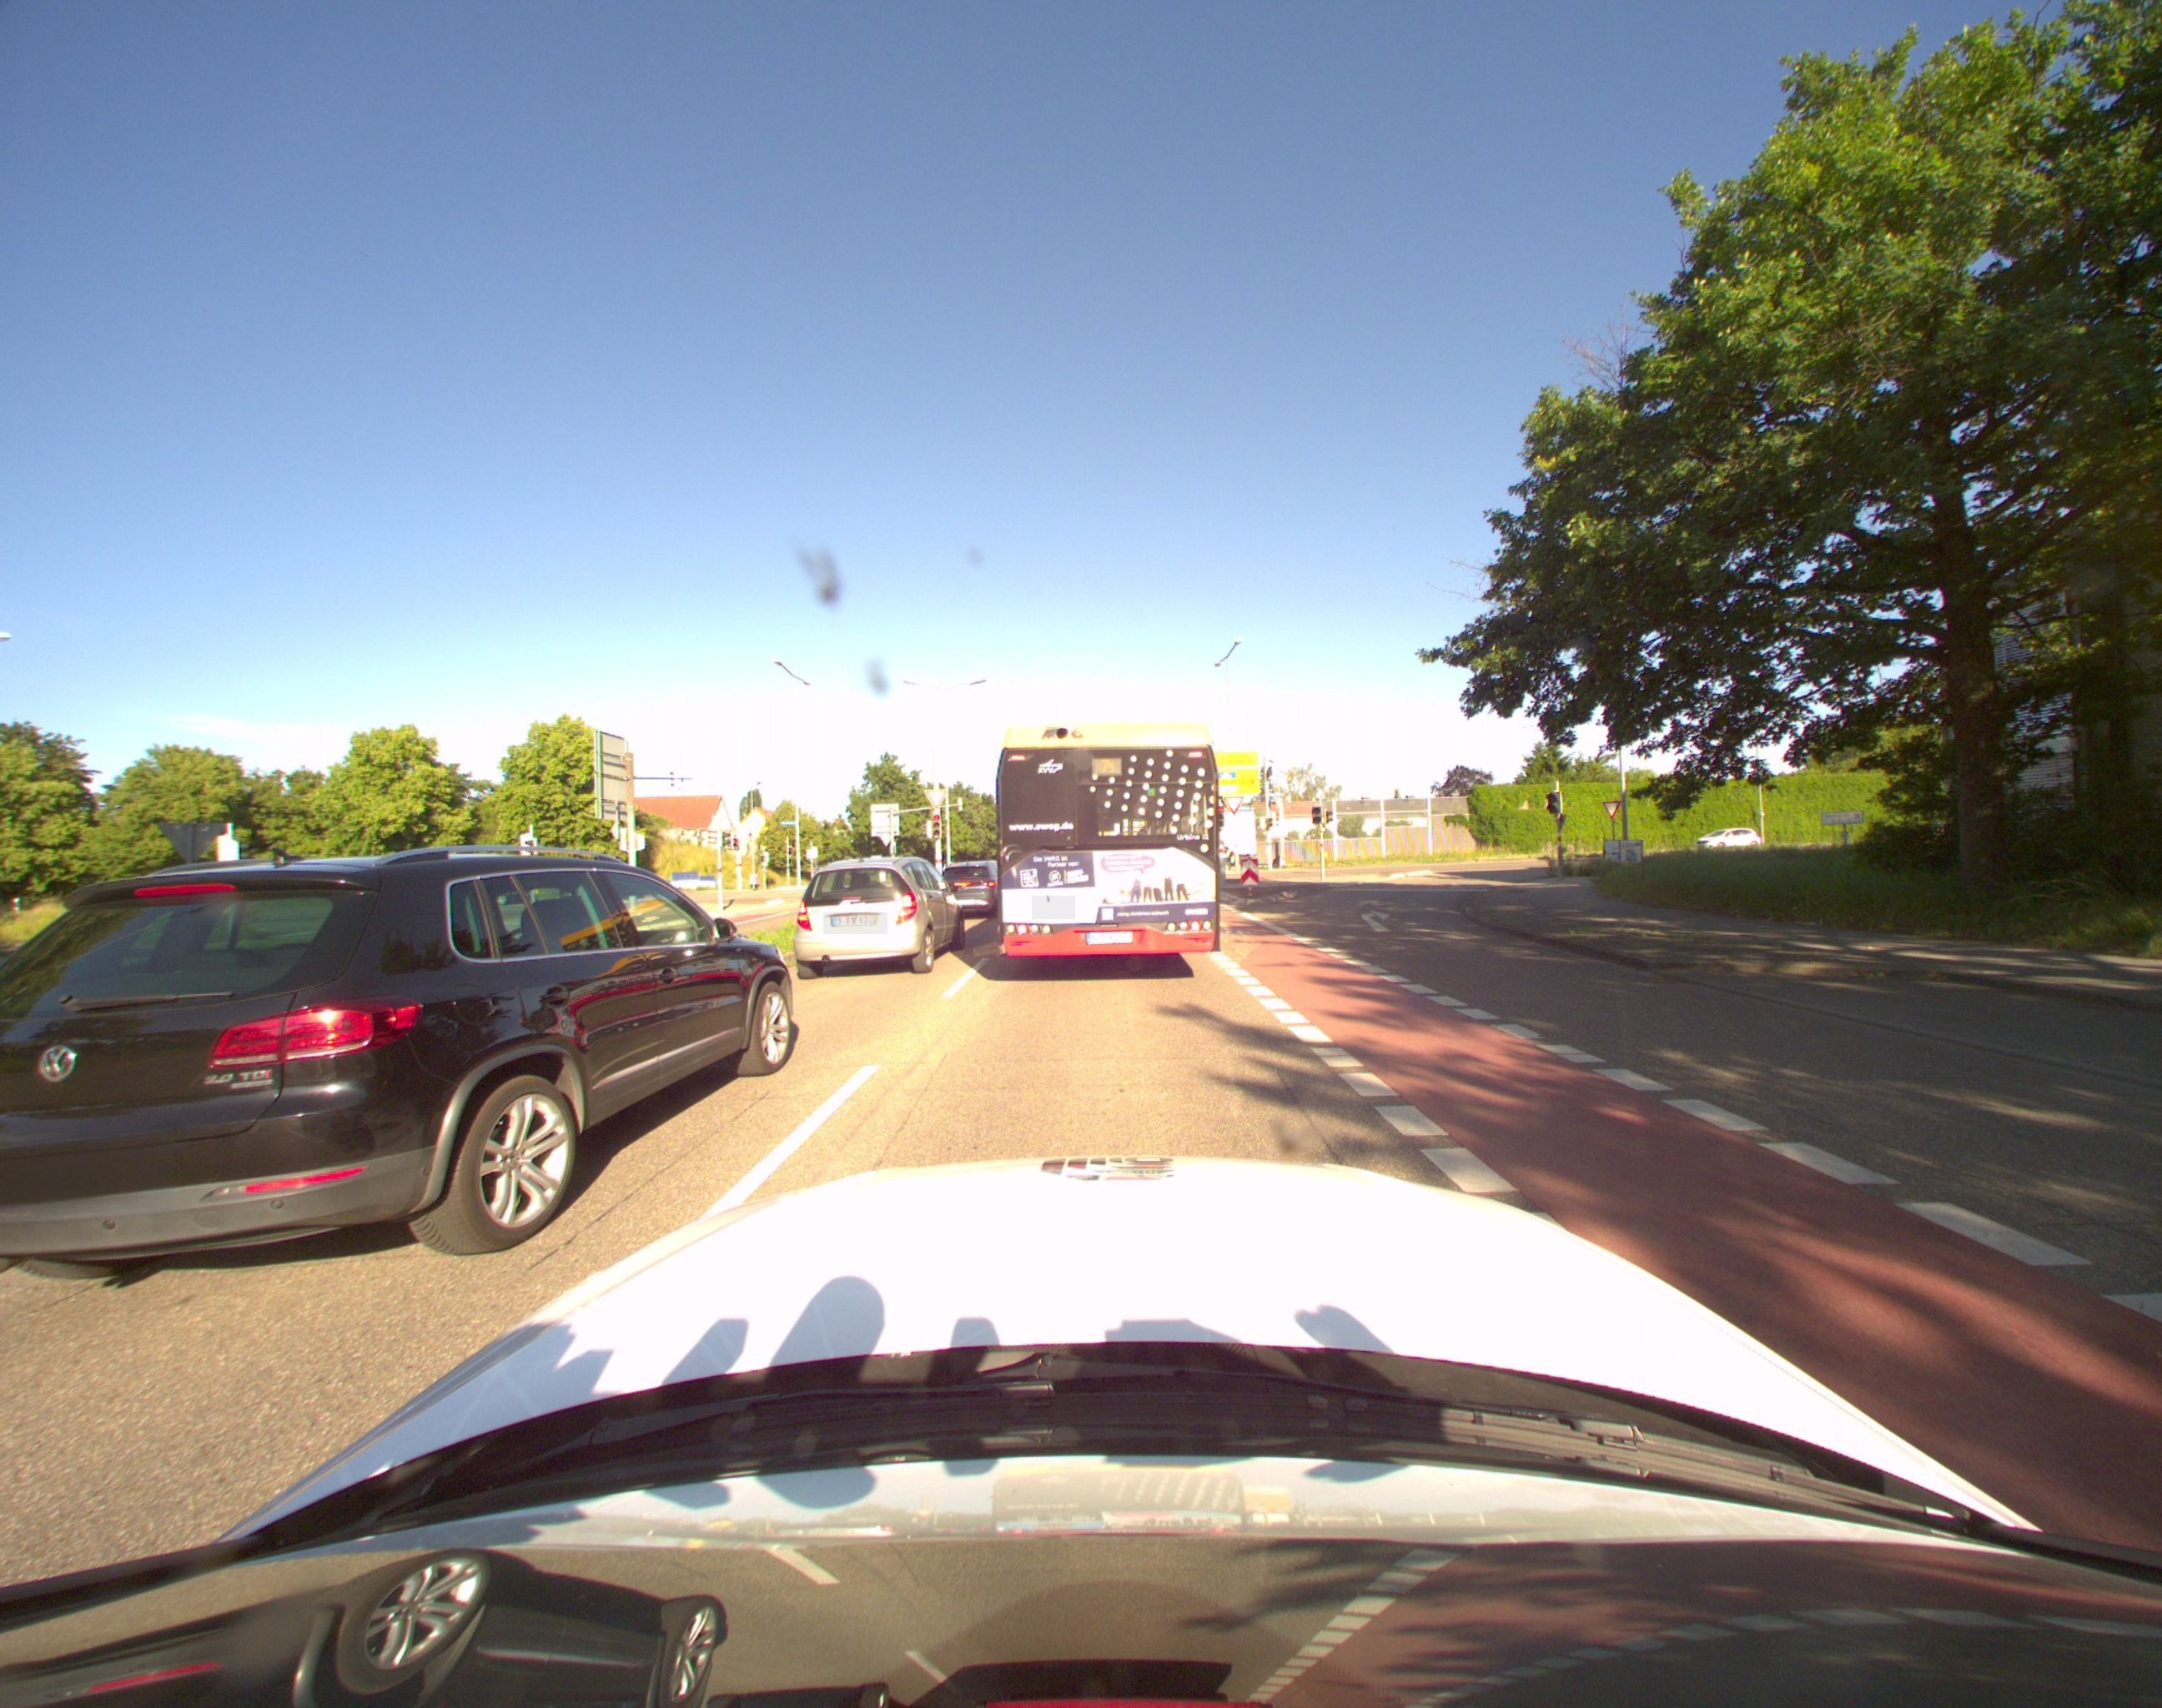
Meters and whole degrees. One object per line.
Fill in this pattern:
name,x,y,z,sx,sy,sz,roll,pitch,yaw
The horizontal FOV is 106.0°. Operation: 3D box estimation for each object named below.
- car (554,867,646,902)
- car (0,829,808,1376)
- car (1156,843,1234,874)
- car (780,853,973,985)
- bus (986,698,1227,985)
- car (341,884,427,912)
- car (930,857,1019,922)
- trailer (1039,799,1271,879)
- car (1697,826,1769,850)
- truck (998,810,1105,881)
car,-24.570,1.541,41.678,3.577,1.560,1.747,-2,0,-5
car,-3.171,0.801,4.560,1.766,1.653,4.001,-3,0,1
car,6.527,0.273,46.793,4.064,1.526,1.764,-3,0,-8
car,-2.874,0.827,12.386,1.755,1.589,4.001,-3,0,1
bus,0.524,-0.162,15.024,2.632,3.167,11.867,-1,0,2
car,-42.054,2.659,49.200,3.588,1.459,1.569,-2,0,-14
car,-2.688,0.859,21.320,1.686,1.458,3.751,-3,0,1
trailer,4.756,-1.004,53.631,14.638,4.012,3.433,-4,0,-6
car,45.578,-1.135,56.987,3.800,1.612,1.704,0,-1,-5
truck,-1.973,-0.506,52.904,6.468,4.012,3.433,-4,0,-6
